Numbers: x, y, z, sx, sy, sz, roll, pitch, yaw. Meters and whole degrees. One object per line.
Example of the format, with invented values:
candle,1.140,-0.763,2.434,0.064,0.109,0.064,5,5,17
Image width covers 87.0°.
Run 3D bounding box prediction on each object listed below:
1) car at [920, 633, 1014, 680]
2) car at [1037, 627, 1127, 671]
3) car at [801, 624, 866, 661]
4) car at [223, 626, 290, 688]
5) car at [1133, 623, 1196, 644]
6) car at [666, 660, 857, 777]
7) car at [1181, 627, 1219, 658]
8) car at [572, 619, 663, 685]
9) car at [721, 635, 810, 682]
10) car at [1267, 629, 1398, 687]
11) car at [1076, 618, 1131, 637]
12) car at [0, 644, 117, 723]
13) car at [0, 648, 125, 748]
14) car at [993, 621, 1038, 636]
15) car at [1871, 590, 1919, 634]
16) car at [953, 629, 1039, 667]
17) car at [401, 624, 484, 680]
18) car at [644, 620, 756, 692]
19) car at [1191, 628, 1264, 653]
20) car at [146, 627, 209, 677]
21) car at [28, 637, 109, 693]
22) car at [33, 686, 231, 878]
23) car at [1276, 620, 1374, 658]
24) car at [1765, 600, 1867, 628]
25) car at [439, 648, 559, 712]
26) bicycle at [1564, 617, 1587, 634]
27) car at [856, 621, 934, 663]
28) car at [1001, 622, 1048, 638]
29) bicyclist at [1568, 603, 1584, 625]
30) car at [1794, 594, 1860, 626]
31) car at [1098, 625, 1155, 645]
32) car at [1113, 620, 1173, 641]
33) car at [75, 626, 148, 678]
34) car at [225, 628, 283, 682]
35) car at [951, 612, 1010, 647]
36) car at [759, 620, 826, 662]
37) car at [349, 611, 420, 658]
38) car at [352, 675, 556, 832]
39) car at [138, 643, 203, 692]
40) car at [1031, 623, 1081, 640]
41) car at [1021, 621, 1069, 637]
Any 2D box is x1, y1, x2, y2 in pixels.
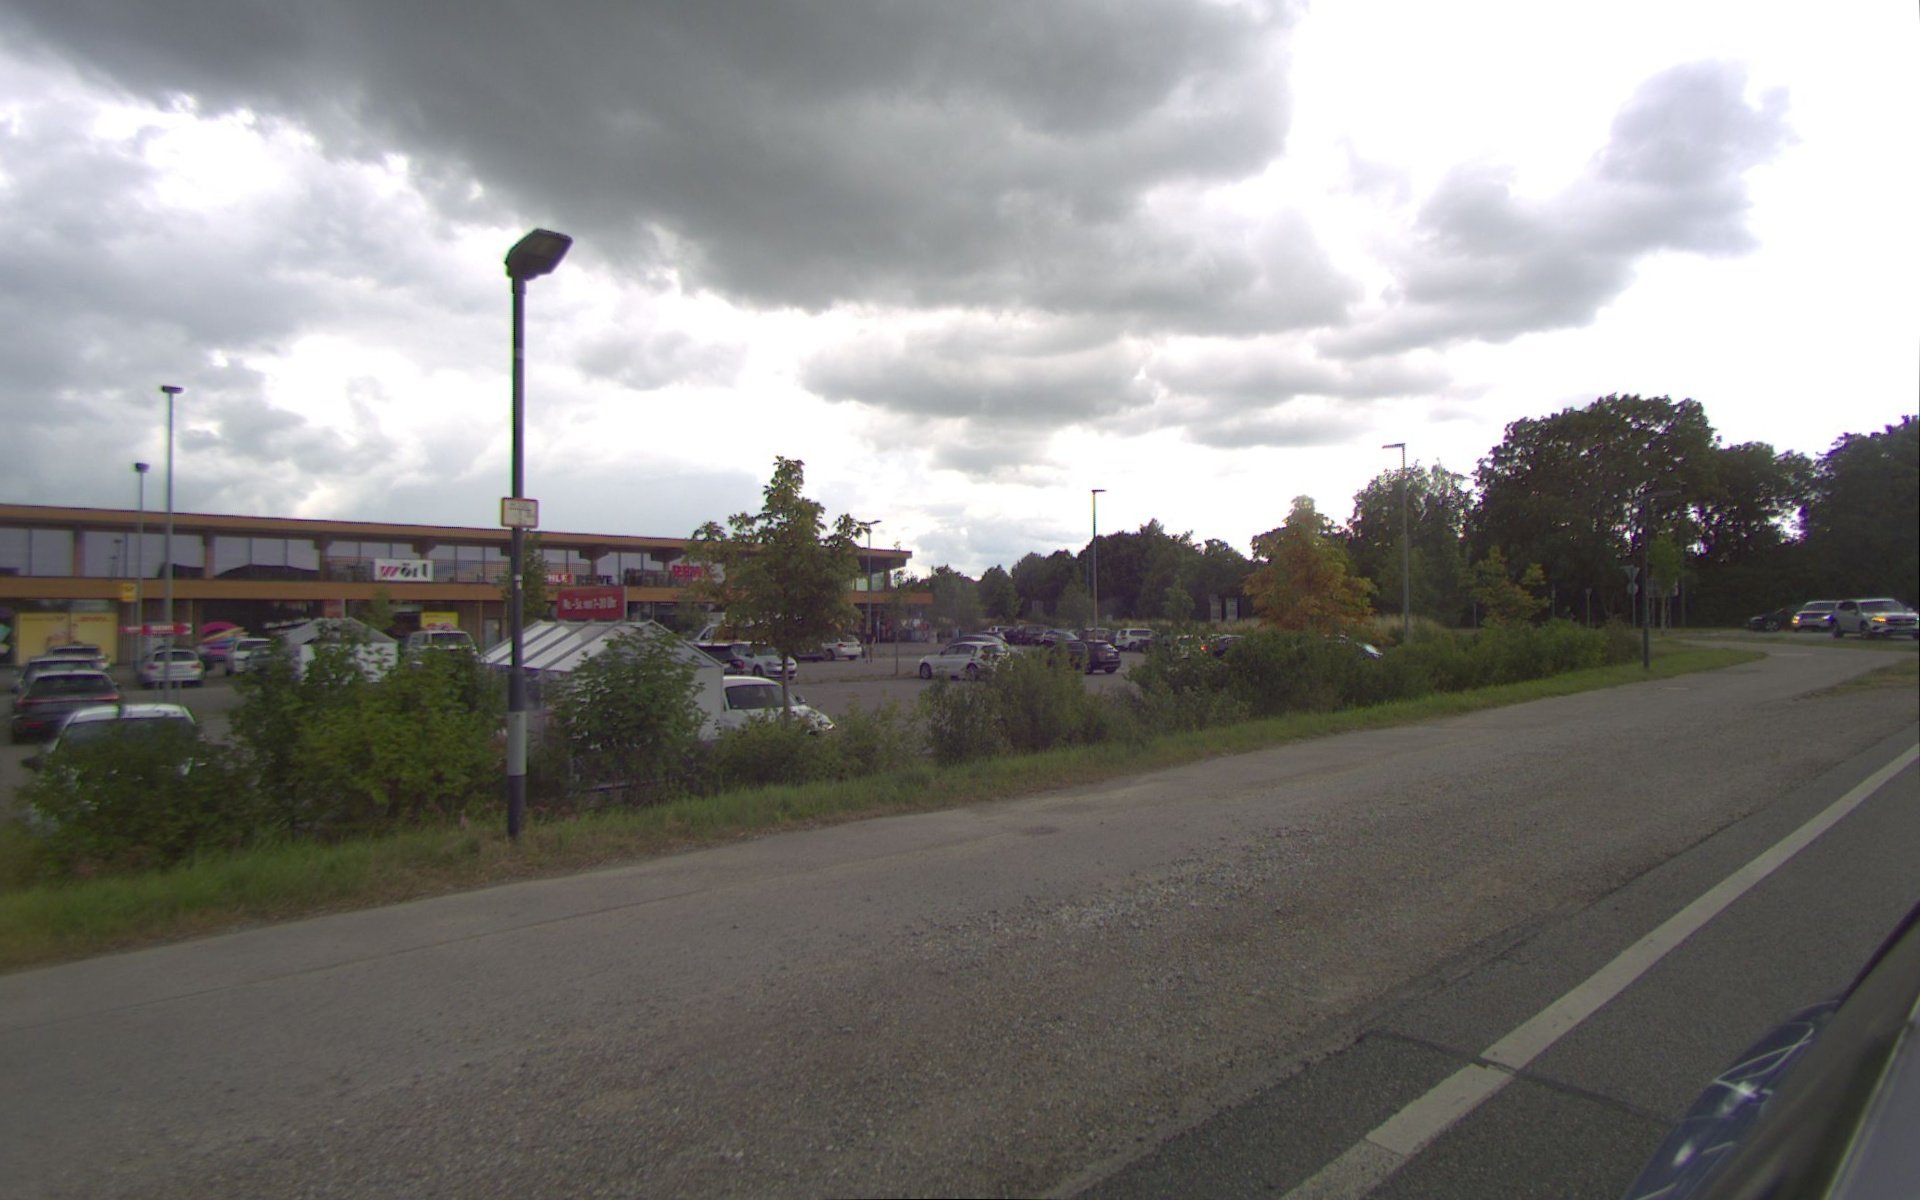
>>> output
car,0.231,2.155,39.084,1.723,1.552,3.554,0,1,-41
car,5.095,2.065,42.523,1.771,1.728,3.385,0,-3,-41
car,-7.208,2.371,57.401,2.032,1.871,4.000,0,1,-36
car,-26.438,2.080,38.021,1.962,2.039,4.000,0,0,-36
car,14.112,2.285,69.831,3.916,1.377,1.705,0,0,-13
car,-3.618,1.999,18.035,1.647,1.557,3.761,0,1,-42
car,12.470,2.160,52.687,1.816,1.377,3.985,1,1,12
car,-12.044,1.742,35.451,1.962,2.039,4.000,0,0,-36
car,-7.823,2.291,40.447,1.962,1.571,4.131,0,1,-36
car,12.895,1.952,35.204,1.629,1.727,3.993,0,1,-41
car,11.183,2.122,78.852,3.916,1.377,1.705,0,0,-13
car,-23.103,2.058,25.962,1.962,1.638,4.000,0,1,-36
car,-18.763,1.947,21.183,1.964,1.638,3.995,0,1,-40
car,5.227,2.670,96.029,3.916,1.377,1.705,0,0,-13
car,38.380,0.470,40.798,3.930,1.705,1.997,0,0,-41
car,1.661,2.221,47.920,1.962,1.504,4.131,0,1,-36
car,-22.051,2.137,42.999,1.965,2.039,5.137,0,1,-41
car,-8.085,1.638,31.209,1.962,1.894,4.274,0,1,-36
car,16.104,2.416,61.003,3.916,1.377,1.705,0,0,-13
car,-32.419,2.104,42.011,1.908,1.772,4.000,0,1,-36
car,-31.151,2.231,35.449,2.003,1.628,3.745,0,1,-40
car,-10.286,2.045,12.504,1.647,1.557,4.152,0,1,-42
car,17.615,1.861,48.925,4.154,1.738,1.705,0,0,-13
car,46.679,0.726,55.277,3.964,1.438,1.699,1,0,29
car,-12.595,2.106,27.541,1.965,1.460,3.993,0,-1,-41
bicycle,36.164,1.490,59.483,0.557,0.974,1.301,1,0,0
car,-3.310,2.077,51.075,1.962,1.894,4.274,0,1,-36
car,5.898,2.707,92.352,3.916,1.377,1.705,0,0,-13
bicyclist,36.180,0.831,59.442,0.545,1.259,0.659,1,0,0
car,43.489,0.468,50.760,3.704,1.538,1.997,0,1,-41
car,12.567,2.648,76.417,3.916,1.377,1.705,0,0,-13
car,13.268,2.201,73.283,3.916,1.377,1.705,0,0,-13
car,-33.627,2.010,40.199,1.908,1.772,4.000,0,1,-36
car,-30.691,2.318,43.972,1.962,2.039,4.000,0,0,-36
car,1.273,1.860,64.840,1.961,2.039,4.003,0,0,-32
car,-9.139,2.187,54.962,2.032,2.039,4.000,0,0,-36
car,-27.582,1.587,48.448,1.965,2.039,5.137,0,1,-41
car,-7.192,2.000,14.215,1.647,1.557,3.761,0,1,-42
car,-29.076,2.426,37.247,1.761,1.496,3.745,0,1,-40
car,8.259,2.696,86.896,3.916,1.377,1.705,0,0,-13
car,7.496,2.577,89.599,3.916,1.377,1.705,0,0,-13
